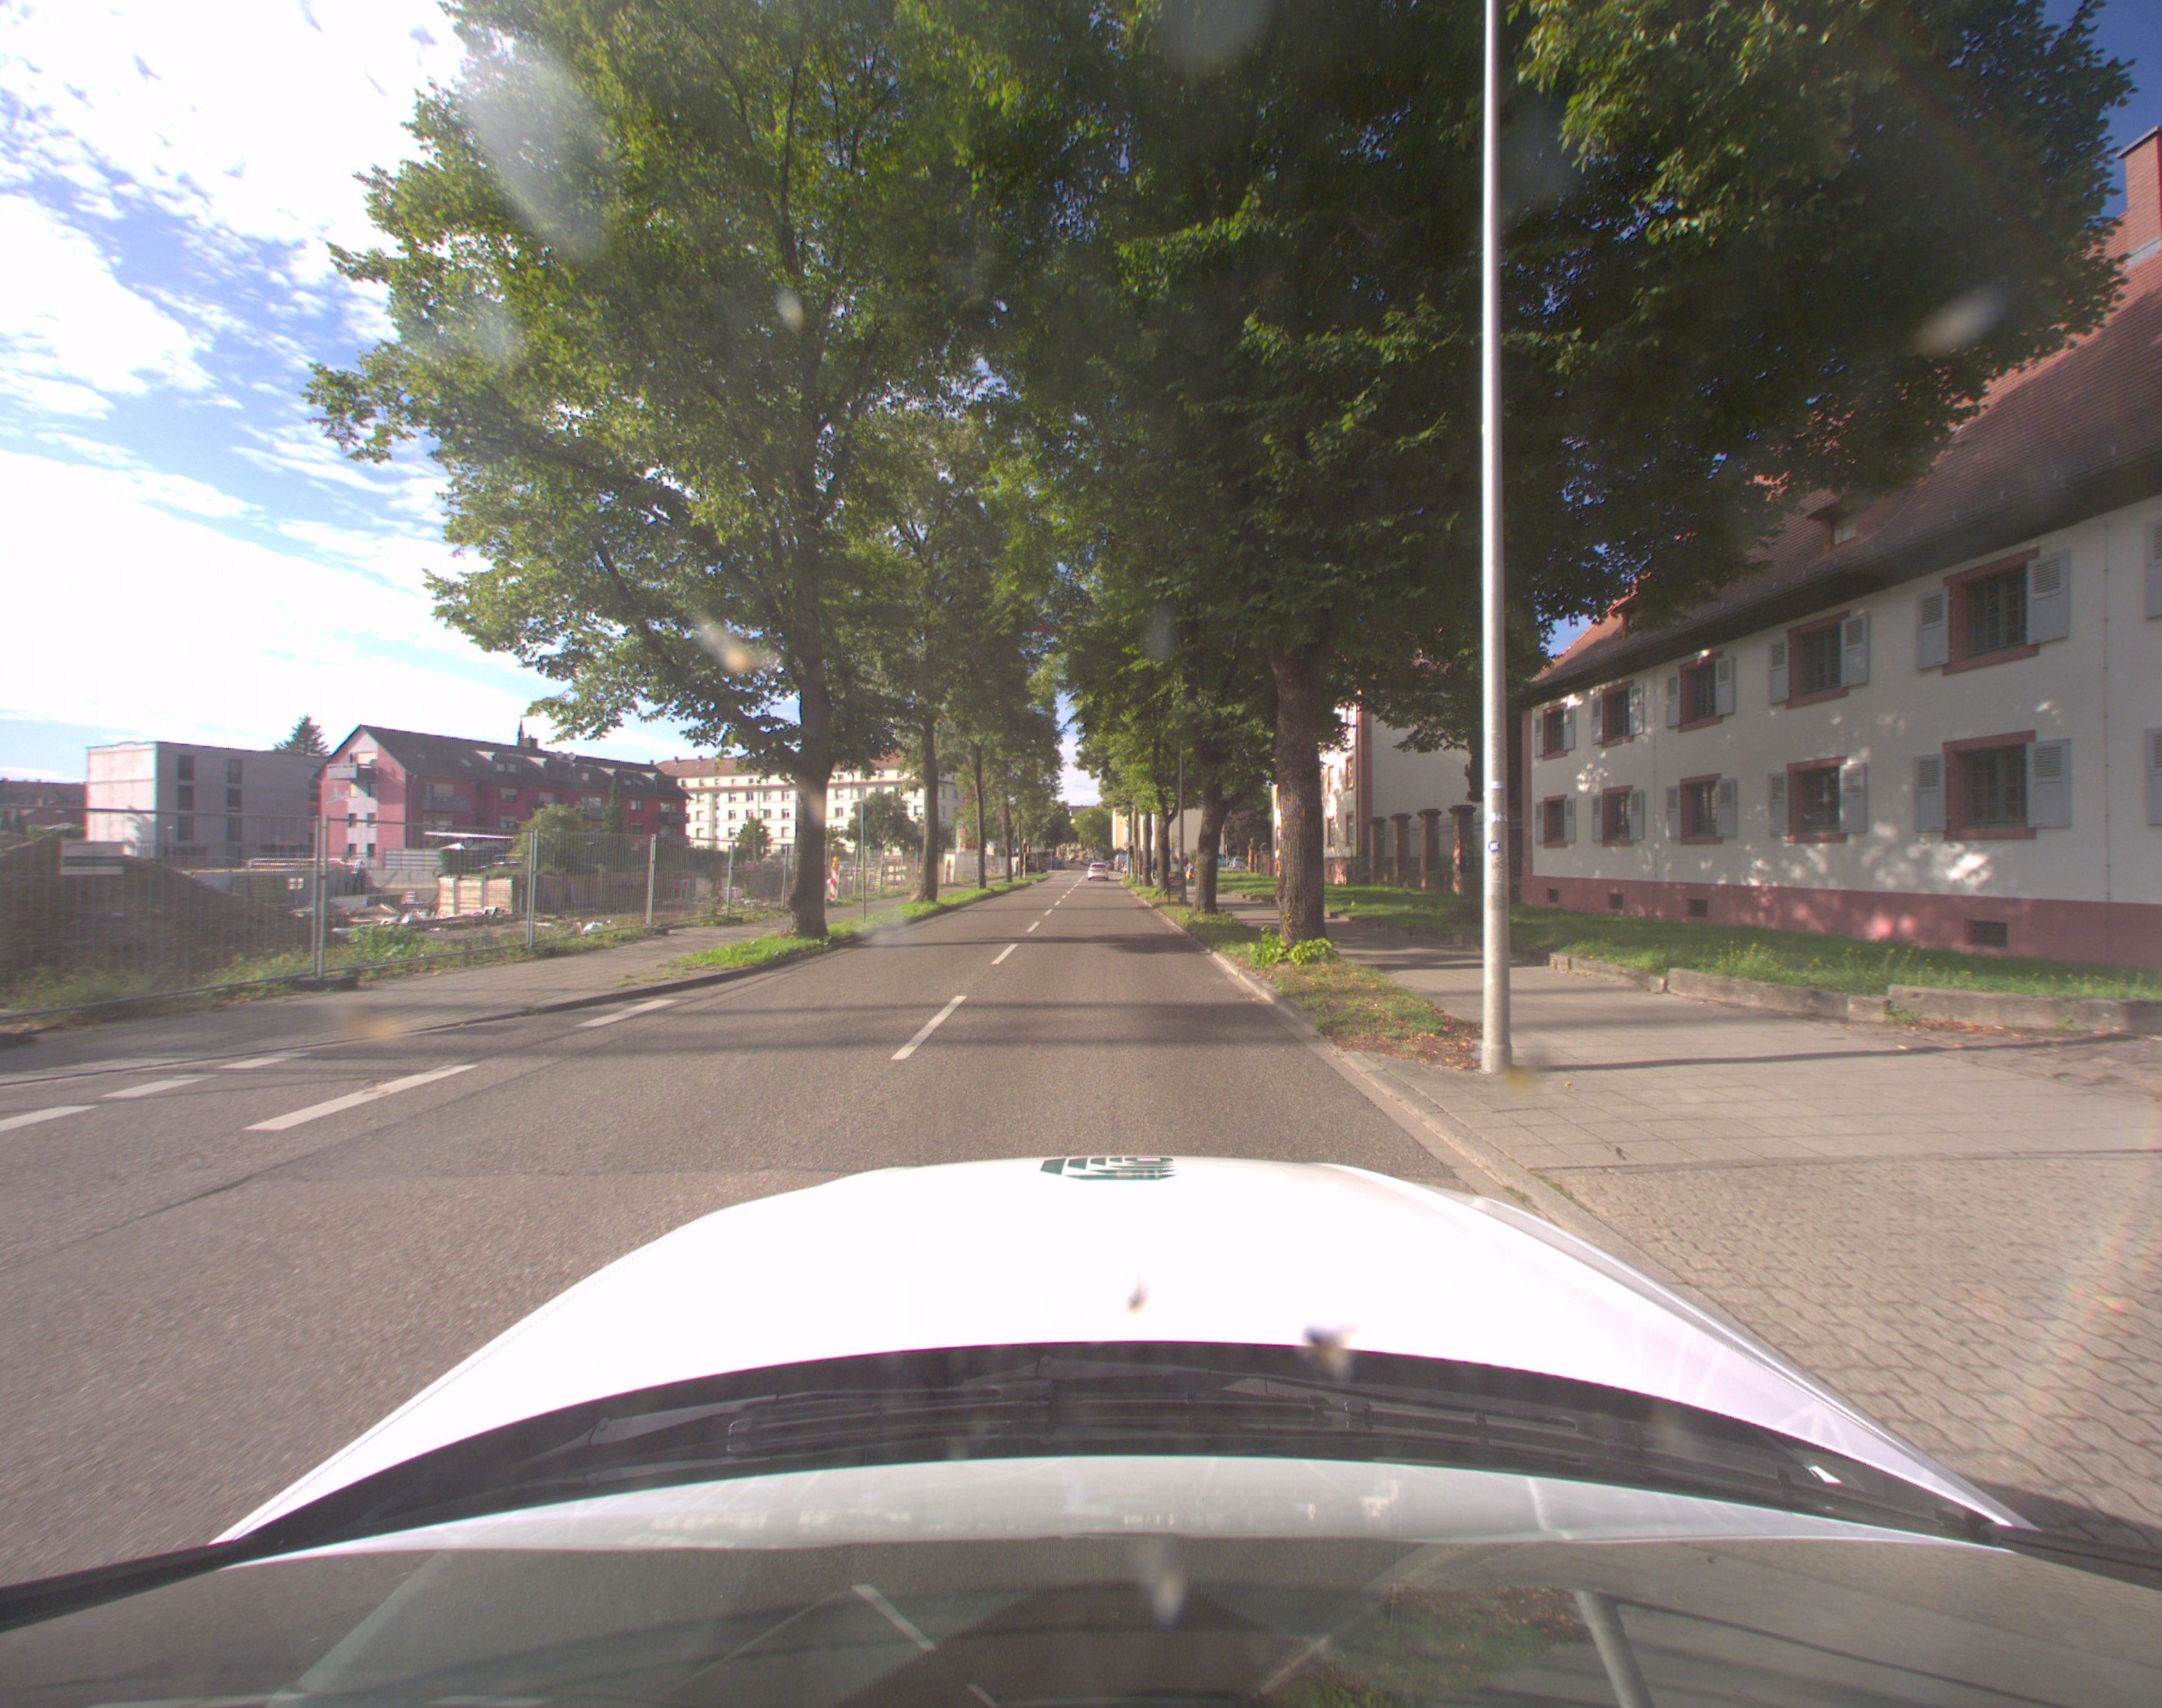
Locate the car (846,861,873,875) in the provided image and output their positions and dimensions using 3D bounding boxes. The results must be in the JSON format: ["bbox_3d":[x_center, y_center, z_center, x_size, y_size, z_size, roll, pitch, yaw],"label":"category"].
[{"bbox_3d":[-31.601,1.964,116.297,1.978,2.014,4.017,-1,-1,16],"label":"car"}]

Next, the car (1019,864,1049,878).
[{"bbox_3d":[-5.796,2.088,100.975,1.975,1.570,4.023,0,-1,26],"label":"car"}]

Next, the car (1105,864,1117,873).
[{"bbox_3d":[5.196,2.509,142.540,1.987,1.574,3.999,-1,0,0],"label":"car"}]

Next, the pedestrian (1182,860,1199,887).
[{"bbox_3d":[6.666,1.181,49.601,0.811,1.590,0.769,-2,-1,0],"label":"pedestrian"}]

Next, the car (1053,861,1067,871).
[{"bbox_3d":[-3.567,1.975,137.460,1.991,1.640,3.992,-1,0,-5],"label":"car"}]

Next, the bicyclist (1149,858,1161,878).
[{"bbox_3d":[5.637,1.066,62.217,0.734,1.513,0.874,-2,-1,0],"label":"bicyclist"}]

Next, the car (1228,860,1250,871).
[{"bbox_3d":[21.309,1.513,109.925,1.988,1.442,3.997,-1,0,-2],"label":"car"}]

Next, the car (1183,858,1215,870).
[{"bbox_3d":[16.808,1.369,116.181,4.428,1.622,2.002,-1,-1,4],"label":"car"}]

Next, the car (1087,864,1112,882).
[{"bbox_3d":[1.618,1.667,73.114,1.988,1.555,4.270,1,-1,-2],"label":"car"}]

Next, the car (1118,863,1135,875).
[{"bbox_3d":[6.431,2.057,115.017,1.988,1.616,4.404,-1,0,-2],"label":"car"}]

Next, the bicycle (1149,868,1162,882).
[{"bbox_3d":[5.656,1.604,62.169,0.737,1.035,2.762,-2,-1,0],"label":"bicycle"}]

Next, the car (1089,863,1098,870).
[{"bbox_3d":[2.727,2.696,179.432,1.987,1.574,3.999,-1,0,0],"label":"car"}]

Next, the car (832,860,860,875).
[{"bbox_3d":[-33.881,1.913,117.341,1.978,2.014,4.017,-1,-1,16],"label":"car"}]

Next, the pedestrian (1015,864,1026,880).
[{"bbox_3d":[-6.471,1.926,86.524,1.007,1.728,1.173,1,-2,-11],"label":"pedestrian"}]

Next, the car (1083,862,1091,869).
[{"bbox_3d":[1.496,2.938,208.761,1.986,1.755,4.001,1,-1,1],"label":"car"}]

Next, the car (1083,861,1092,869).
[{"bbox_3d":[1.565,2.649,195.465,1.986,1.755,4.001,1,-1,1],"label":"car"}]

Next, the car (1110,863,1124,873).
[{"bbox_3d":[5.848,2.201,131.985,1.987,1.574,3.999,-1,0,0],"label":"car"}]

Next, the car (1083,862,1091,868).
[{"bbox_3d":[1.741,3.162,229.316,1.986,1.755,4.001,1,-1,1],"label":"car"}]

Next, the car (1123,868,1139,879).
[{"bbox_3d":[6.555,2.573,107.647,2.008,1.475,4.804,-1,-1,2],"label":"car"}]

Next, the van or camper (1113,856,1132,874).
[{"bbox_3d":[6.174,1.598,120.757,2.204,2.607,5.365,-1,0,-3],"label":"van or camper"}]
